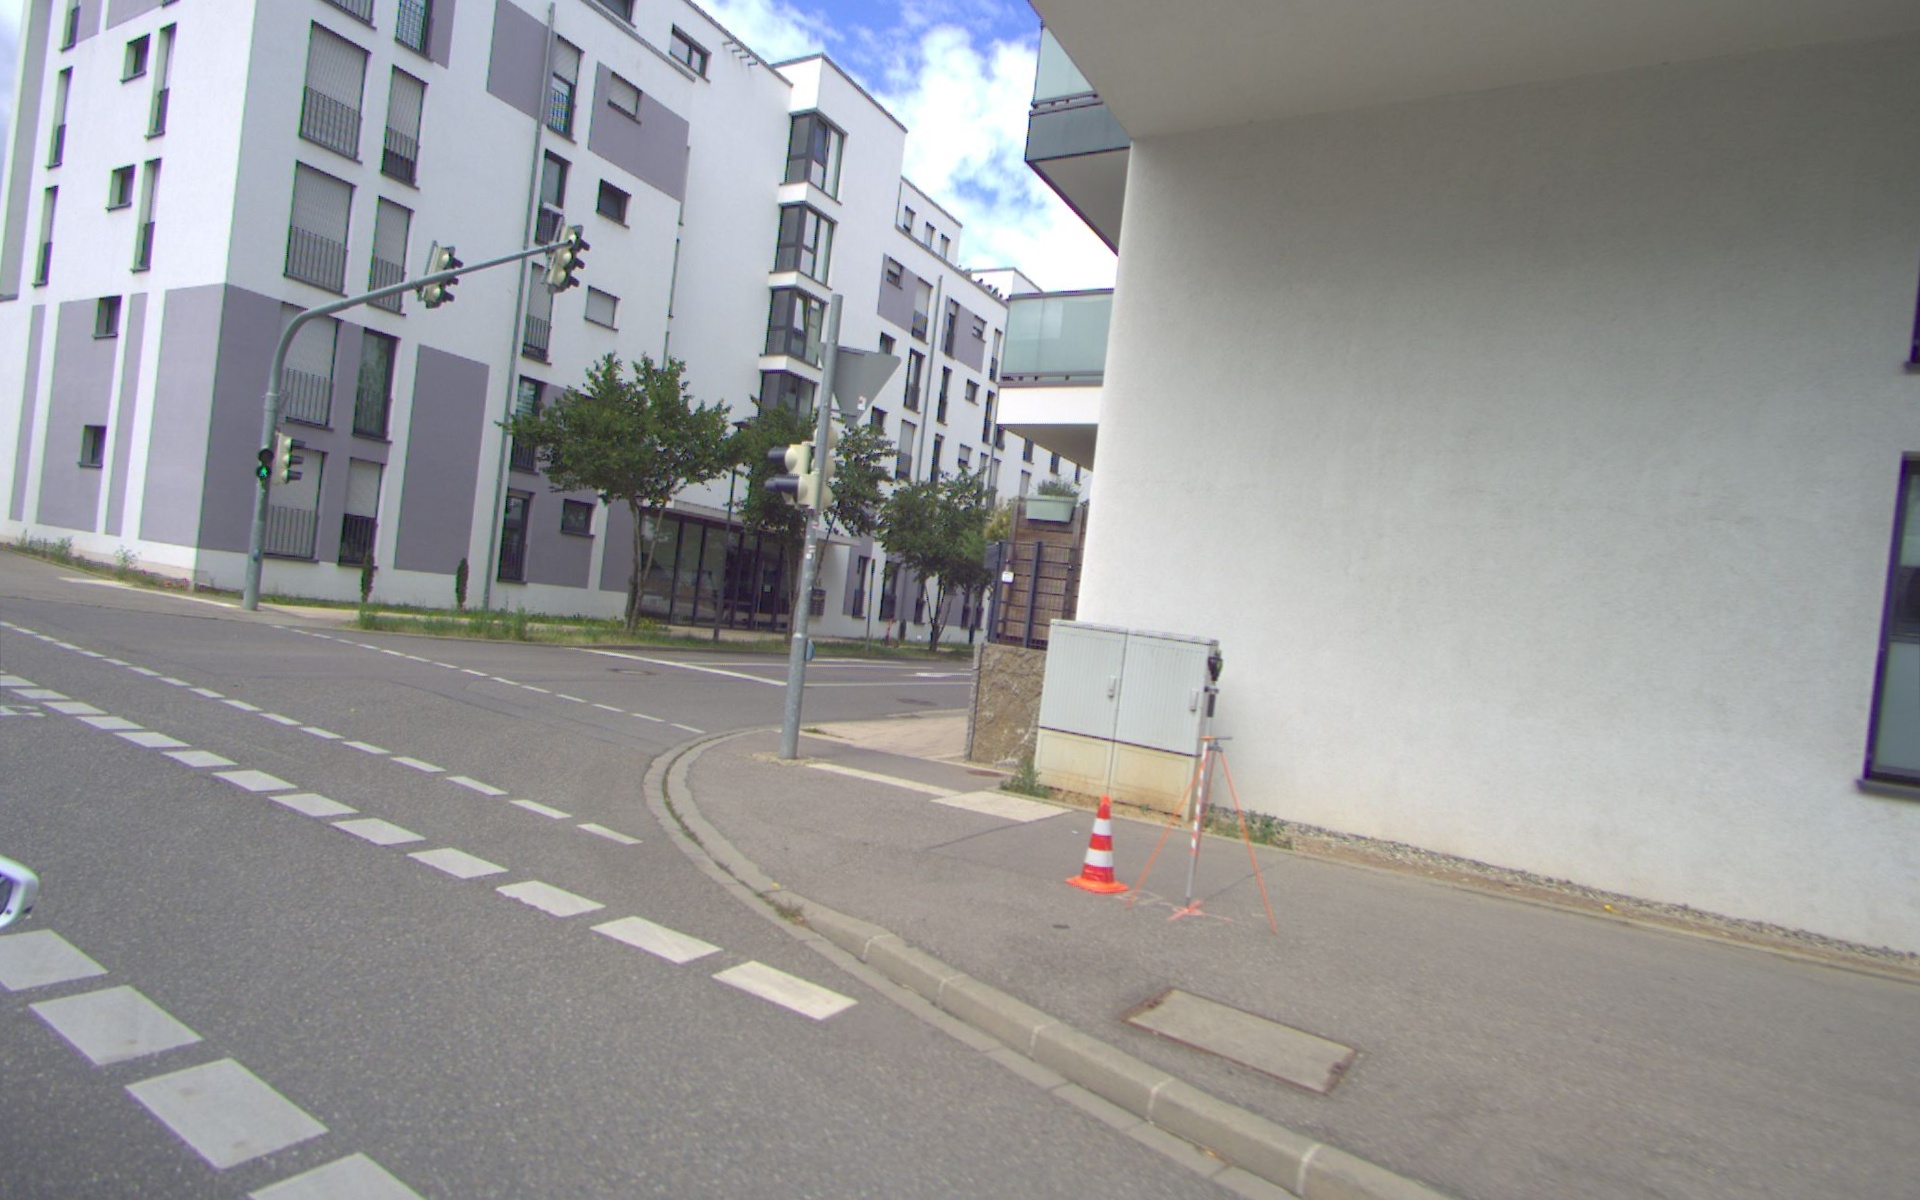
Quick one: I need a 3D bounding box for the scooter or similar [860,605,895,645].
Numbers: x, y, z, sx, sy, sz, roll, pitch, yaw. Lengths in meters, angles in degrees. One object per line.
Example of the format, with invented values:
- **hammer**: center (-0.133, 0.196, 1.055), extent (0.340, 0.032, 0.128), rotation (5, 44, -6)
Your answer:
- **scooter or similar**: center (-2.818, 0.852, 34.534), extent (0.474, 1.254, 1.166), rotation (6, -1, 32)
